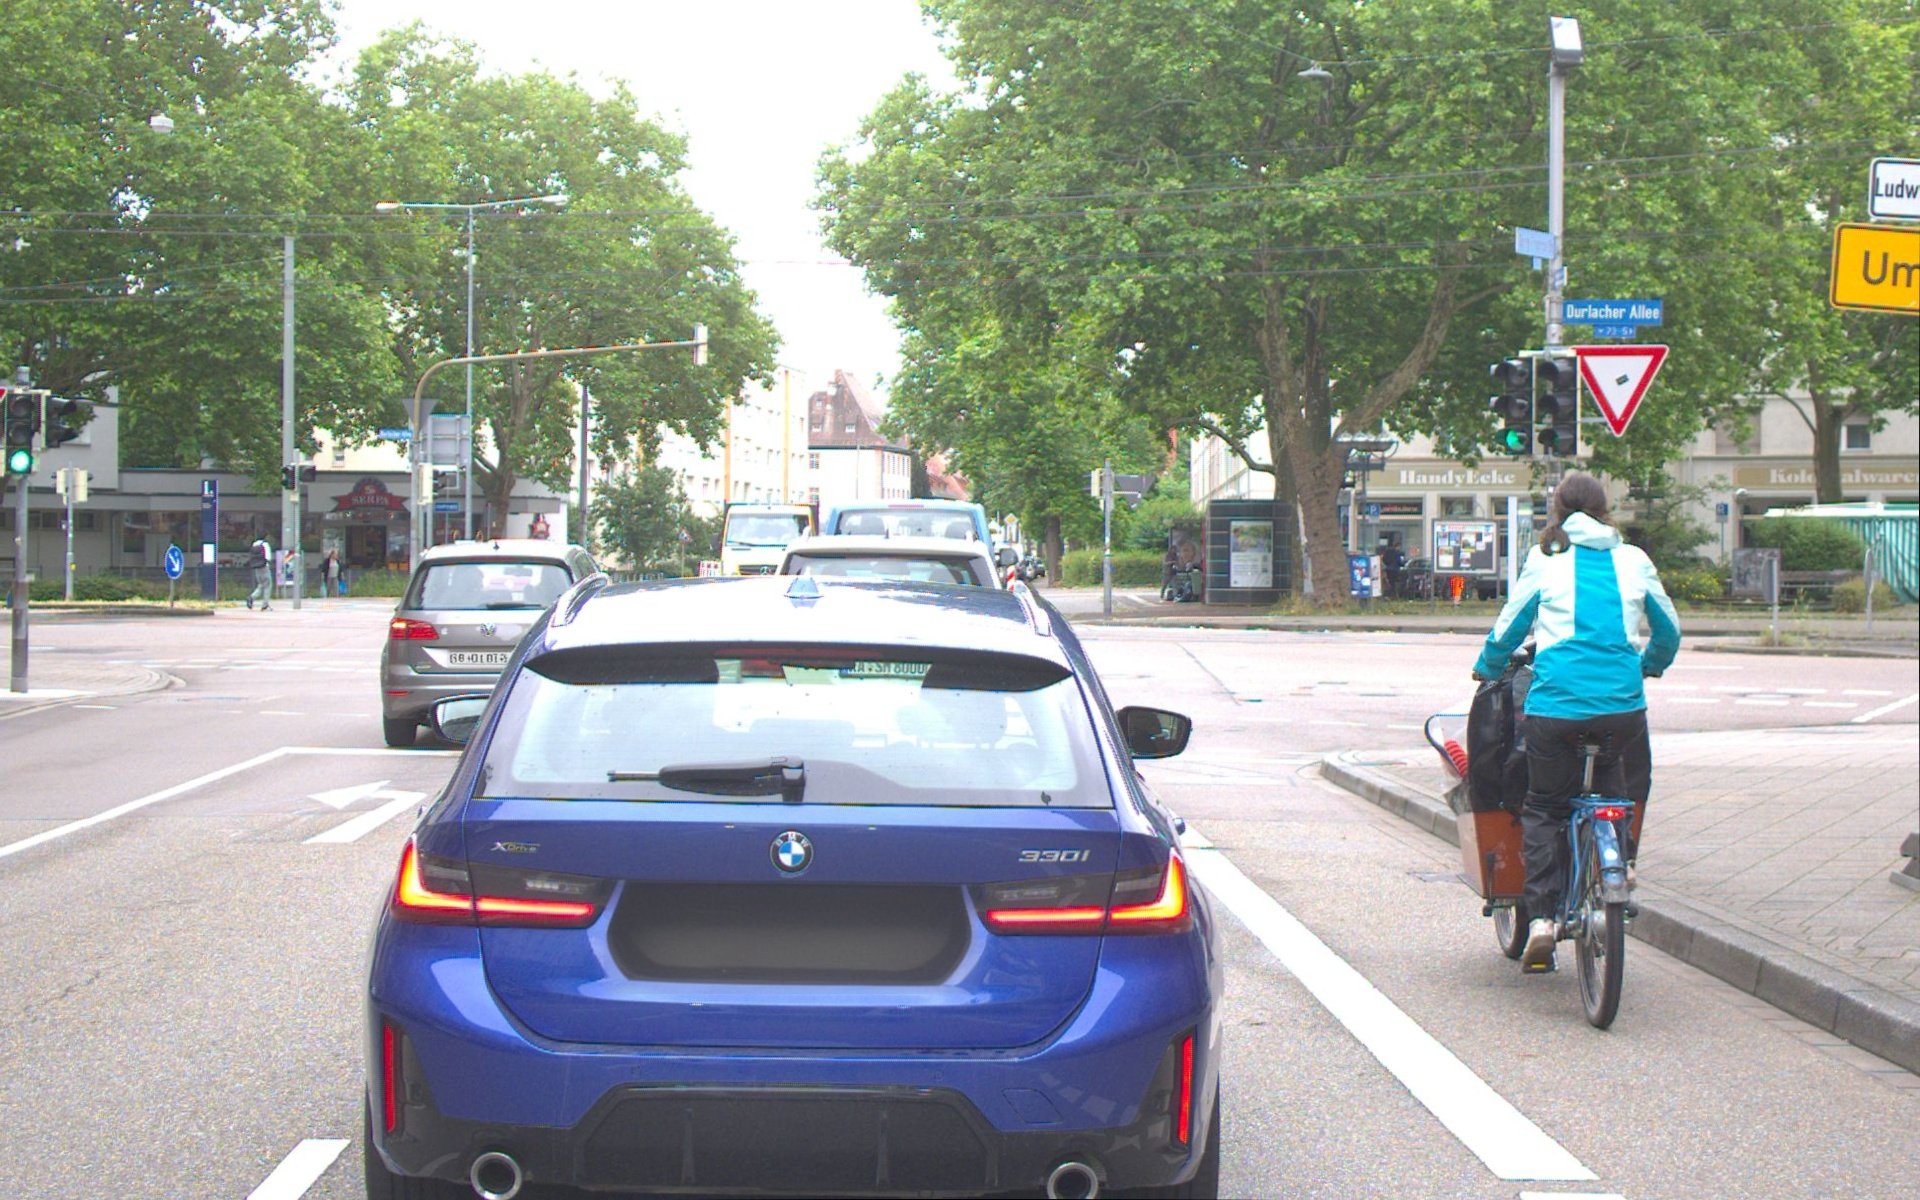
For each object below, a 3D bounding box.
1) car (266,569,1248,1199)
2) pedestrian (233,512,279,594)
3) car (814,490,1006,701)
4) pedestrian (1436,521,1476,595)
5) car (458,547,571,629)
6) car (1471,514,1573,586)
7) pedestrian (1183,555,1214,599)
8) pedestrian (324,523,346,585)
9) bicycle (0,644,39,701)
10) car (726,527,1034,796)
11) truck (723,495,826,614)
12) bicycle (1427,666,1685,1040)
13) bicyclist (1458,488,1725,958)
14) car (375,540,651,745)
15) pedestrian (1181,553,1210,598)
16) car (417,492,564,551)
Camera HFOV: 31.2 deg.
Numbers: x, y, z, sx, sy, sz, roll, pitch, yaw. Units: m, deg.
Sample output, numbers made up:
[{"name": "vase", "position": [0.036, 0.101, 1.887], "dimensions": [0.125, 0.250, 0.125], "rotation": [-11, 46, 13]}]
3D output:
[{"name": "car", "position": [-0.400, 0.646, 8.525], "dimensions": [1.815, 1.400, 4.320], "rotation": [0, 1, -1]}, {"name": "pedestrian", "position": [-15.177, -1.011, 74.112], "dimensions": [0.676, 1.765, 0.724], "rotation": [1, 1, 41]}, {"name": "car", "position": [-0.495, -0.078, 34.586], "dimensions": [1.815, 1.998, 4.000], "rotation": [0, 1, -1]}, {"name": "pedestrian", "position": [11.755, -1.004, 81.484], "dimensions": [0.784, 1.738, 0.925], "rotation": [0, 1, -2]}, {"name": "car", "position": [-8.122, -0.237, 62.898], "dimensions": [1.649, 1.442, 3.511], "rotation": [0, 1, -1]}, {"name": "car", "position": [17.577, -1.555, 107.373], "dimensions": [2.177, 2.193, 3.995], "rotation": [1, 1, 24]}, {"name": "pedestrian", "position": [7.123, -0.700, 102.656], "dimensions": [0.853, 1.310, 0.763], "rotation": [0, 1, 0]}, {"name": "pedestrian", "position": [-17.900, -1.330, 98.460], "dimensions": [0.571, 1.765, 0.515], "rotation": [0, 1, -13]}, {"name": "bicycle", "position": [-9.905, 0.613, 32.929], "dimensions": [1.886, 0.443, 1.029], "rotation": [6, 2, -2]}, {"name": "car", "position": [-0.496, 0.328, 22.307], "dimensions": [1.815, 1.586, 4.000], "rotation": [0, 1, -1]}, {"name": "truck", "position": [-3.873, -0.986, 72.337], "dimensions": [2.074, 2.400, 5.463], "rotation": [0, 1, -2]}, {"name": "bicycle", "position": [2.017, 0.815, 11.875], "dimensions": [0.494, 1.094, 2.139], "rotation": [0, 1, -1]}, {"name": "bicyclist", "position": [2.110, 0.387, 11.597], "dimensions": [0.686, 1.512, 1.058], "rotation": [0, 1, -1]}, {"name": "car", "position": [-3.506, 0.280, 27.555], "dimensions": [1.732, 1.520, 4.000], "rotation": [0, 1, -1]}, {"name": "pedestrian", "position": [7.096, -0.738, 103.602], "dimensions": [0.817, 1.367, 0.763], "rotation": [0, 1, 0]}, {"name": "car", "position": [-14.372, -2.388, 105.246], "dimensions": [3.987, 1.700, 2.000], "rotation": [0, 0, -34]}]
